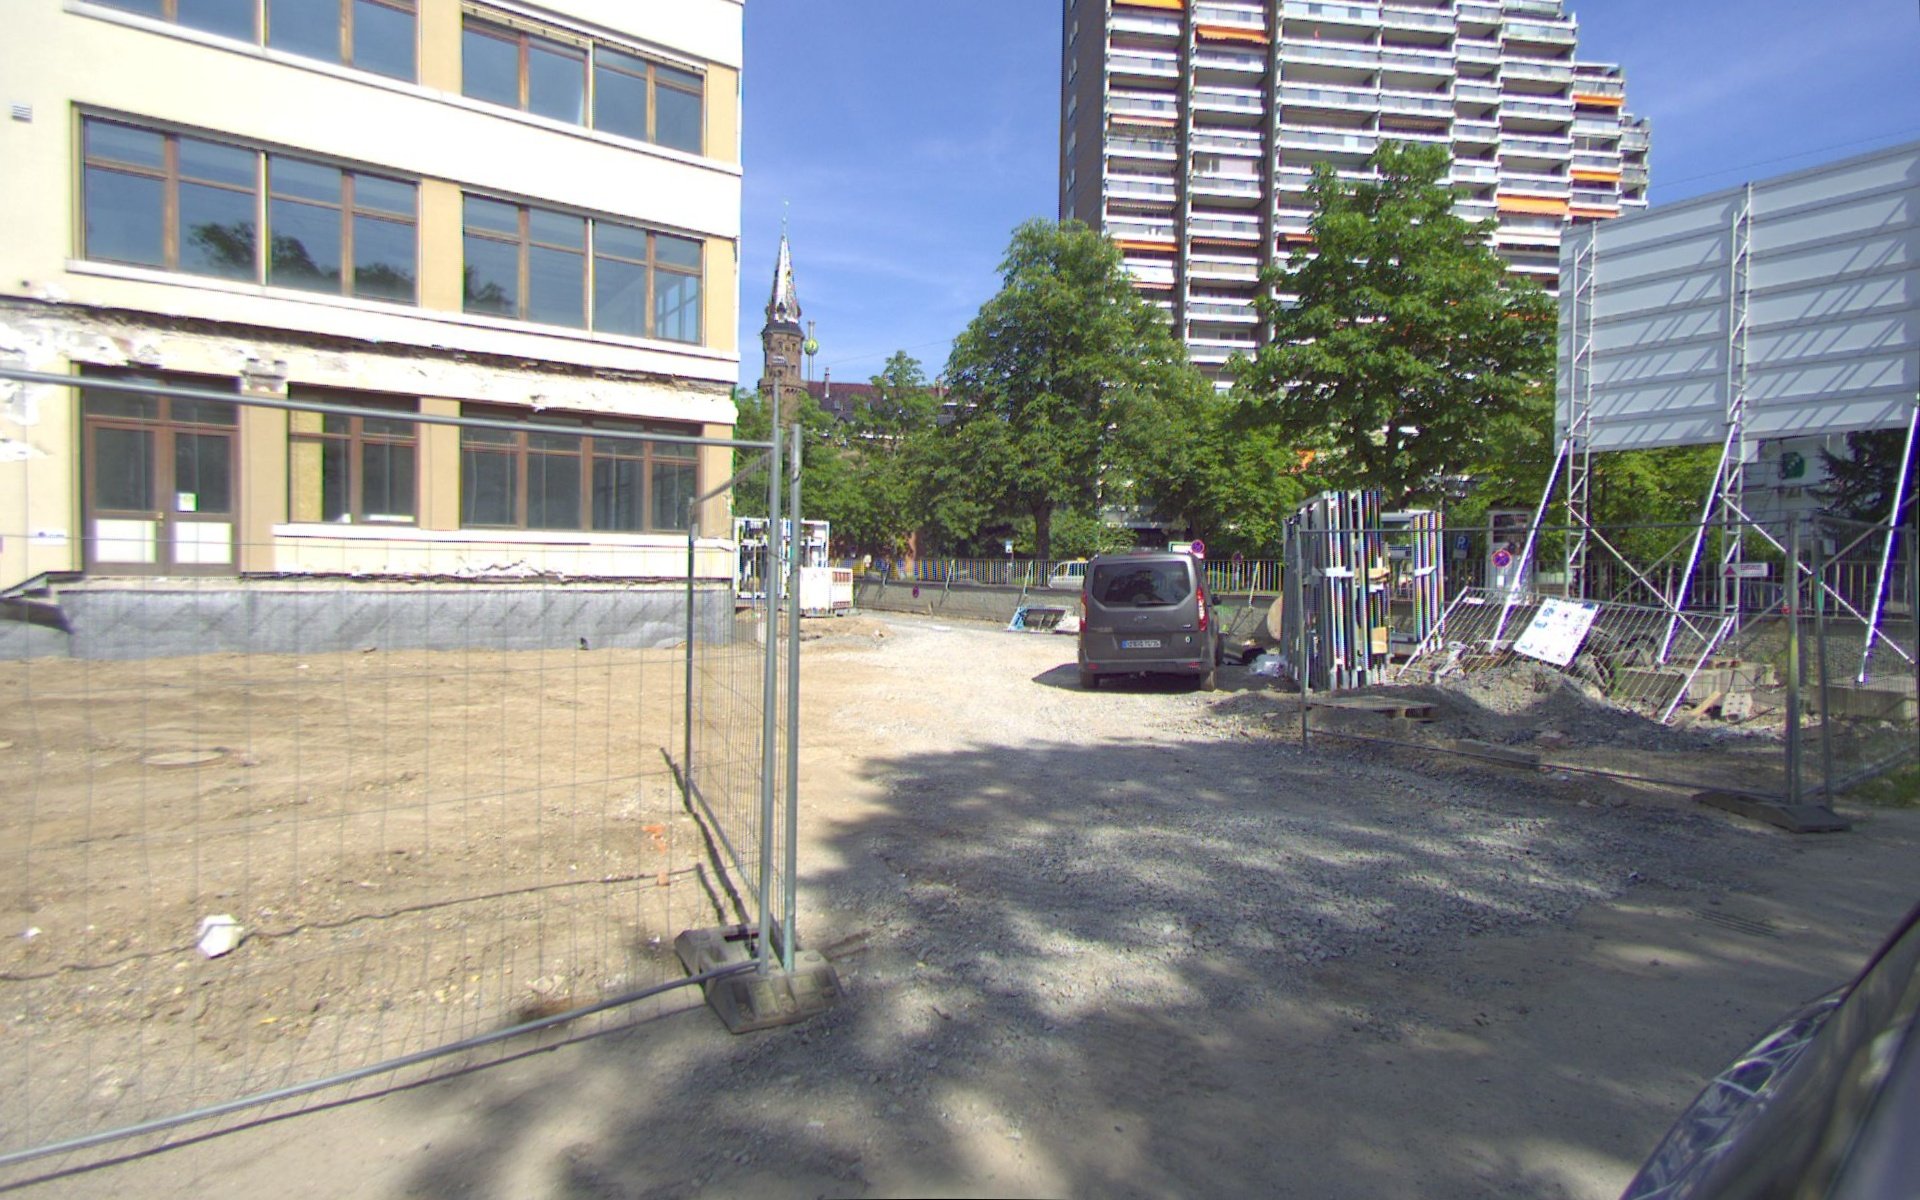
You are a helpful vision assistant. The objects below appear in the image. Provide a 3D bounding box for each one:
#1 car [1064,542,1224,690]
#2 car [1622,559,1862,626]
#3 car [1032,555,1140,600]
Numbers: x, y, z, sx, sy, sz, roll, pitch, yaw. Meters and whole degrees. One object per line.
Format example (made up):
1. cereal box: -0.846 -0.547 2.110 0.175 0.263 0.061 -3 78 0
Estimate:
1. car: 2.814 0.132 14.702 1.895 1.802 4.292 0 2 16
2. car: 19.553 -0.230 25.516 1.905 1.540 4.393 1 1 -33
3. car: 5.706 -1.073 46.577 1.958 1.970 5.252 0 2 -33
